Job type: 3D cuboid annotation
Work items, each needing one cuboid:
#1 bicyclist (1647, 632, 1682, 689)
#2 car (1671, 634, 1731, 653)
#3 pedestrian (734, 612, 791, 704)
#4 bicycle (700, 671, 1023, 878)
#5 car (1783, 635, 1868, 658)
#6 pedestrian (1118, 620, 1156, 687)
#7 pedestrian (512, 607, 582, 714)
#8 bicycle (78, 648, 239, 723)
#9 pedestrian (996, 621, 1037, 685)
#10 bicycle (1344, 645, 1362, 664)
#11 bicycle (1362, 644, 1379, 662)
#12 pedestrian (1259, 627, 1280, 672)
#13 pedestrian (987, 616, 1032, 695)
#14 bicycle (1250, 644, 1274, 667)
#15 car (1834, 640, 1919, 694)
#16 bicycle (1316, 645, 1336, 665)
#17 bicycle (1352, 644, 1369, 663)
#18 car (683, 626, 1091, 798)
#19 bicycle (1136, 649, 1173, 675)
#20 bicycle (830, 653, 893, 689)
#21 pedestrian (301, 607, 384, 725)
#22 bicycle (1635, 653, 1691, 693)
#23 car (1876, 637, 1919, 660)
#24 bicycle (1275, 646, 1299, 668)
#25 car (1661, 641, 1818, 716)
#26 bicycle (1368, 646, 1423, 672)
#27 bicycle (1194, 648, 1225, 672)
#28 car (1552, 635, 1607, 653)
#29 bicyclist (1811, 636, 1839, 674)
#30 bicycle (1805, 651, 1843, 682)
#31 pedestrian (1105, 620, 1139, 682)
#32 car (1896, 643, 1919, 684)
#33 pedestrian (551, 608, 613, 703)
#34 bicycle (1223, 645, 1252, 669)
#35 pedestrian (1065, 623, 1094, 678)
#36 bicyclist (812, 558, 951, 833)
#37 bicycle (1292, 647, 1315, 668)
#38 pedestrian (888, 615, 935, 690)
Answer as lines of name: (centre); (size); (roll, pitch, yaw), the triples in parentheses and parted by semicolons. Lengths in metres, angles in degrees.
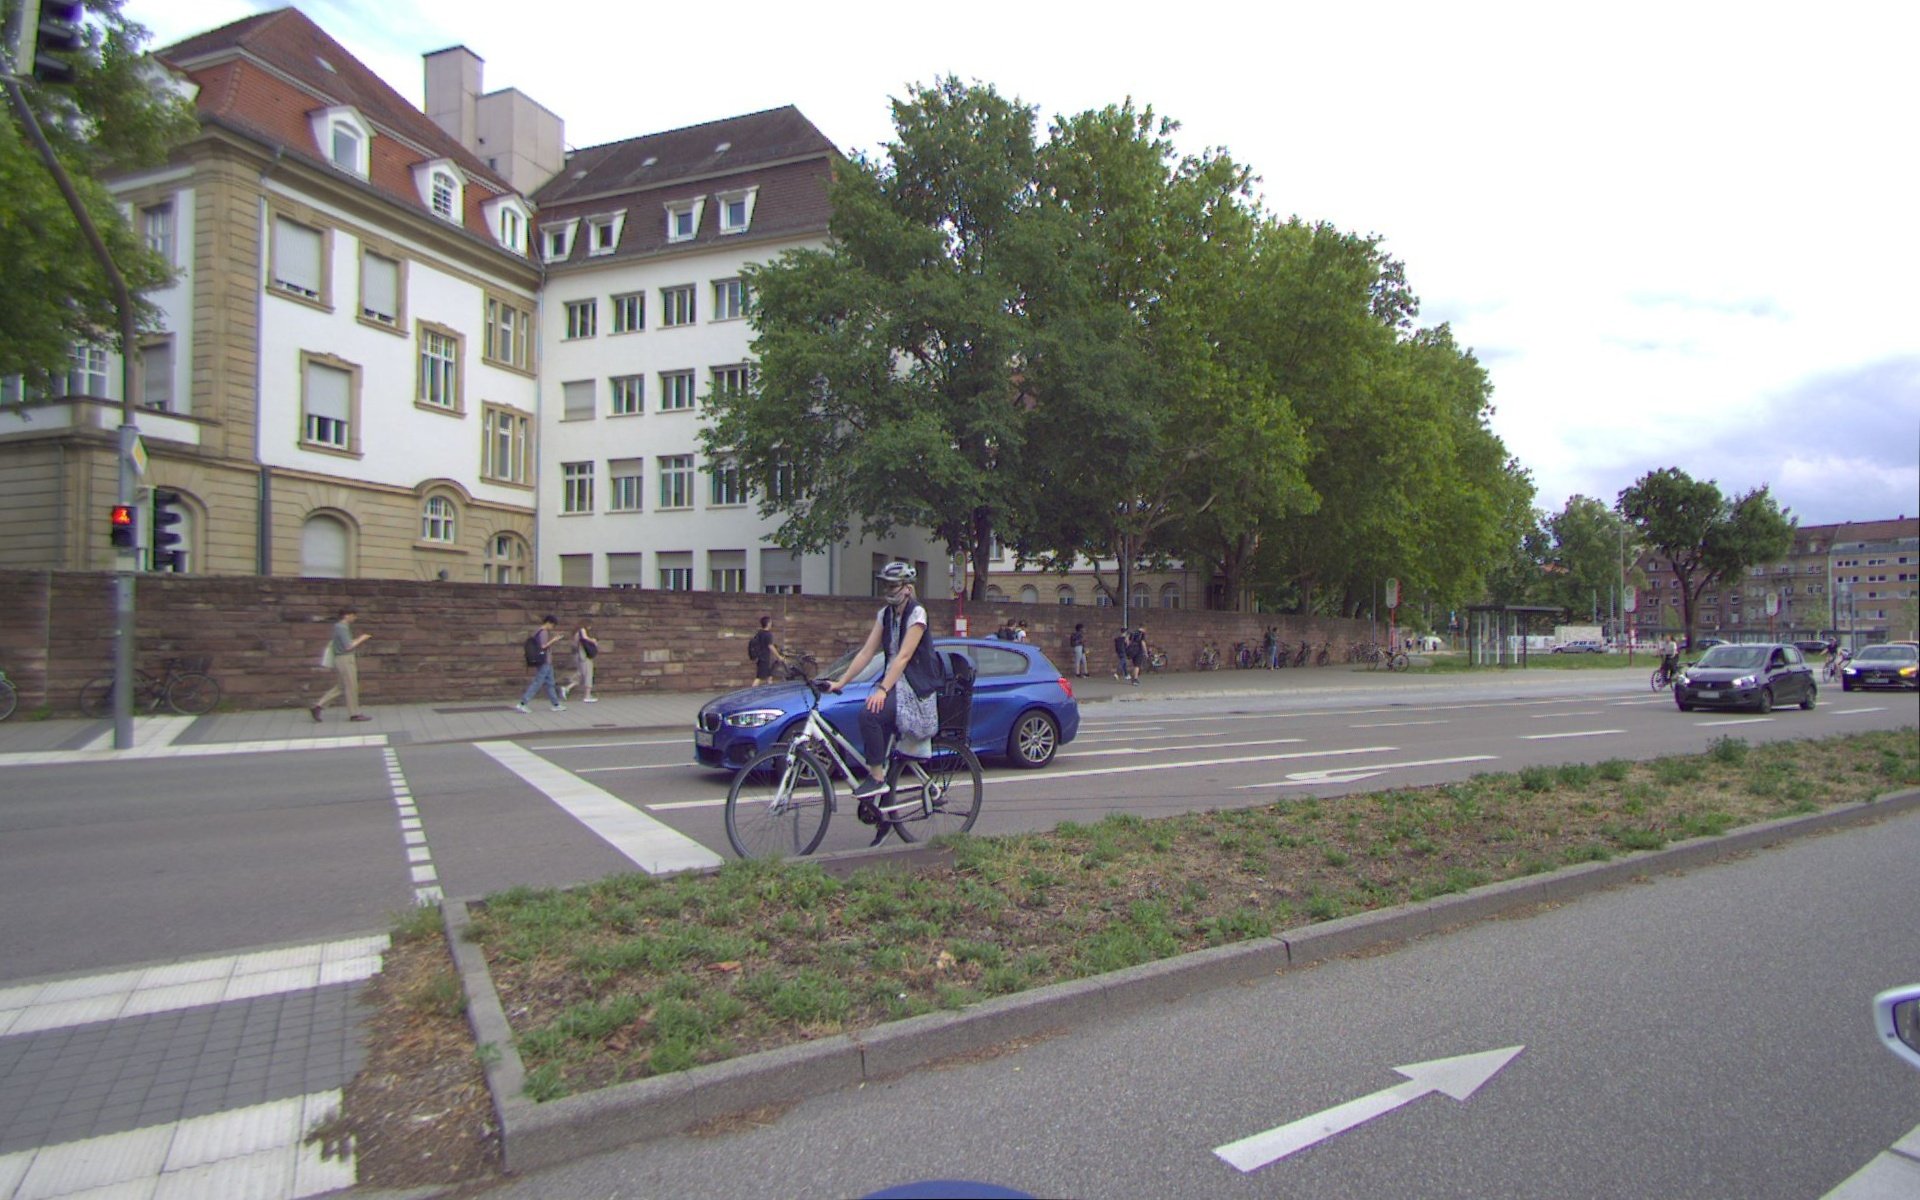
bicyclist: (22.674, 1.925, 32.346); (0.801, 1.806, 0.616); (1, -1, -27)
car: (60.635, 3.519, 82.234); (1.571, 1.413, 3.732); (1, 0, -39)
pedestrian: (-4.024, 1.174, 20.510); (0.747, 1.805, 0.783); (0, -2, 30)
bicycle: (-0.569, 0.996, 6.155); (1.902, 1.069, 0.571); (1, -1, -28)
car: (65.215, 3.465, 75.771); (1.644, 1.495, 4.636); (1, 0, -36)
pedestrian: (4.940, 1.491, 27.960); (0.747, 1.805, 0.923); (0, -2, 30)
pedestrian: (-7.220, 1.054, 17.577); (0.747, 1.805, 0.783); (0, -2, 29)
bicycle: (-12.700, 1.331, 15.984); (1.964, 1.072, 0.544); (1, 1, -39)
pedestrian: (1.543, 1.436, 27.261); (0.747, 1.693, 0.923); (0, -2, 30)
bicycle: (19.759, 2.732, 50.442); (0.474, 0.919, 1.616); (2, 0, 34)
bicycle: (22.050, 2.843, 53.952); (0.474, 0.919, 1.616); (2, 0, 34)
pedestrian: (11.909, 1.910, 38.644); (0.553, 1.689, 0.623); (0, -3, 42)
pedestrian: (1.165, 1.298, 23.486); (0.748, 1.805, 0.720); (0, -3, 35)
bicycle: (12.083, 2.213, 40.171); (0.342, 0.890, 1.515); (2, 0, 40)
car: (28.833, 2.023, 31.088); (4.364, 1.509, 1.789); (2, -2, -37)
bicycle: (16.979, 2.555, 46.593); (0.474, 0.919, 1.615); (-1, -2, 35)
bicycle: (20.887, 2.789, 52.324); (0.474, 0.919, 1.616); (2, 0, 34)
car: (-0.716, 1.065, 10.841); (4.059, 1.531, 1.791); (1, -2, -33)
bicycle: (6.566, 2.083, 33.860); (0.435, 0.838, 1.613); (2, 0, 40)
bicycle: (-2.460, 1.769, 25.106); (1.608, 0.807, 0.437); (0, 1, -42)
pedestrian: (-9.847, 1.043, 16.039); (0.733, 1.805, 0.783); (1, -2, 26)
bicycle: (22.633, 2.325, 32.318); (2.018, 1.233, 0.616); (1, -2, -27)
car: (68.226, 3.463, 71.793); (1.645, 1.537, 3.829); (1, -1, -36)
bicycle: (13.709, 2.392, 42.143); (0.435, 0.890, 1.615); (2, 0, 37)
car: (17.387, 1.686, 22.373); (3.594, 1.509, 1.564); (1, -2, -31)
bicycle: (16.468, 2.219, 37.960); (2.307, 0.931, 0.469); (1, -2, -25)
bicycle: (9.141, 2.179, 36.771); (0.435, 0.838, 1.613); (2, 0, 40)
car: (58.291, 4.105, 94.553); (1.632, 1.671, 4.124); (1, -2, -37)
bicyclist: (33.701, 2.137, 39.148); (0.801, 1.437, 0.578); (1, -2, -28)
bicycle: (33.673, 2.573, 39.122); (1.943, 1.186, 0.578); (1, -2, -32)
pedestrian: (4.851, 1.529, 30.094); (0.747, 1.805, 0.783); (0, -2, 30)
car: (37.600, 2.394, 38.253); (4.366, 1.509, 1.792); (1, -2, -32)
pedestrian: (-7.404, 1.084, 19.700); (0.747, 1.805, 0.783); (1, -2, 27)
bicycle: (10.671, 2.174, 38.592); (0.411, 0.890, 1.548); (2, 0, 40)
pedestrian: (3.632, 1.535, 30.520); (0.578, 1.613, 0.733); (0, -3, 36)
bicyclist: (-0.493, 0.563, 6.254); (0.690, 1.594, 0.570); (1, -1, -28)
bicycle: (14.998, 2.504, 43.864); (0.435, 0.890, 1.615); (2, 0, 37)
pedestrian: (-1.197, 1.287, 24.748); (0.747, 1.805, 0.913); (0, -2, 30)
